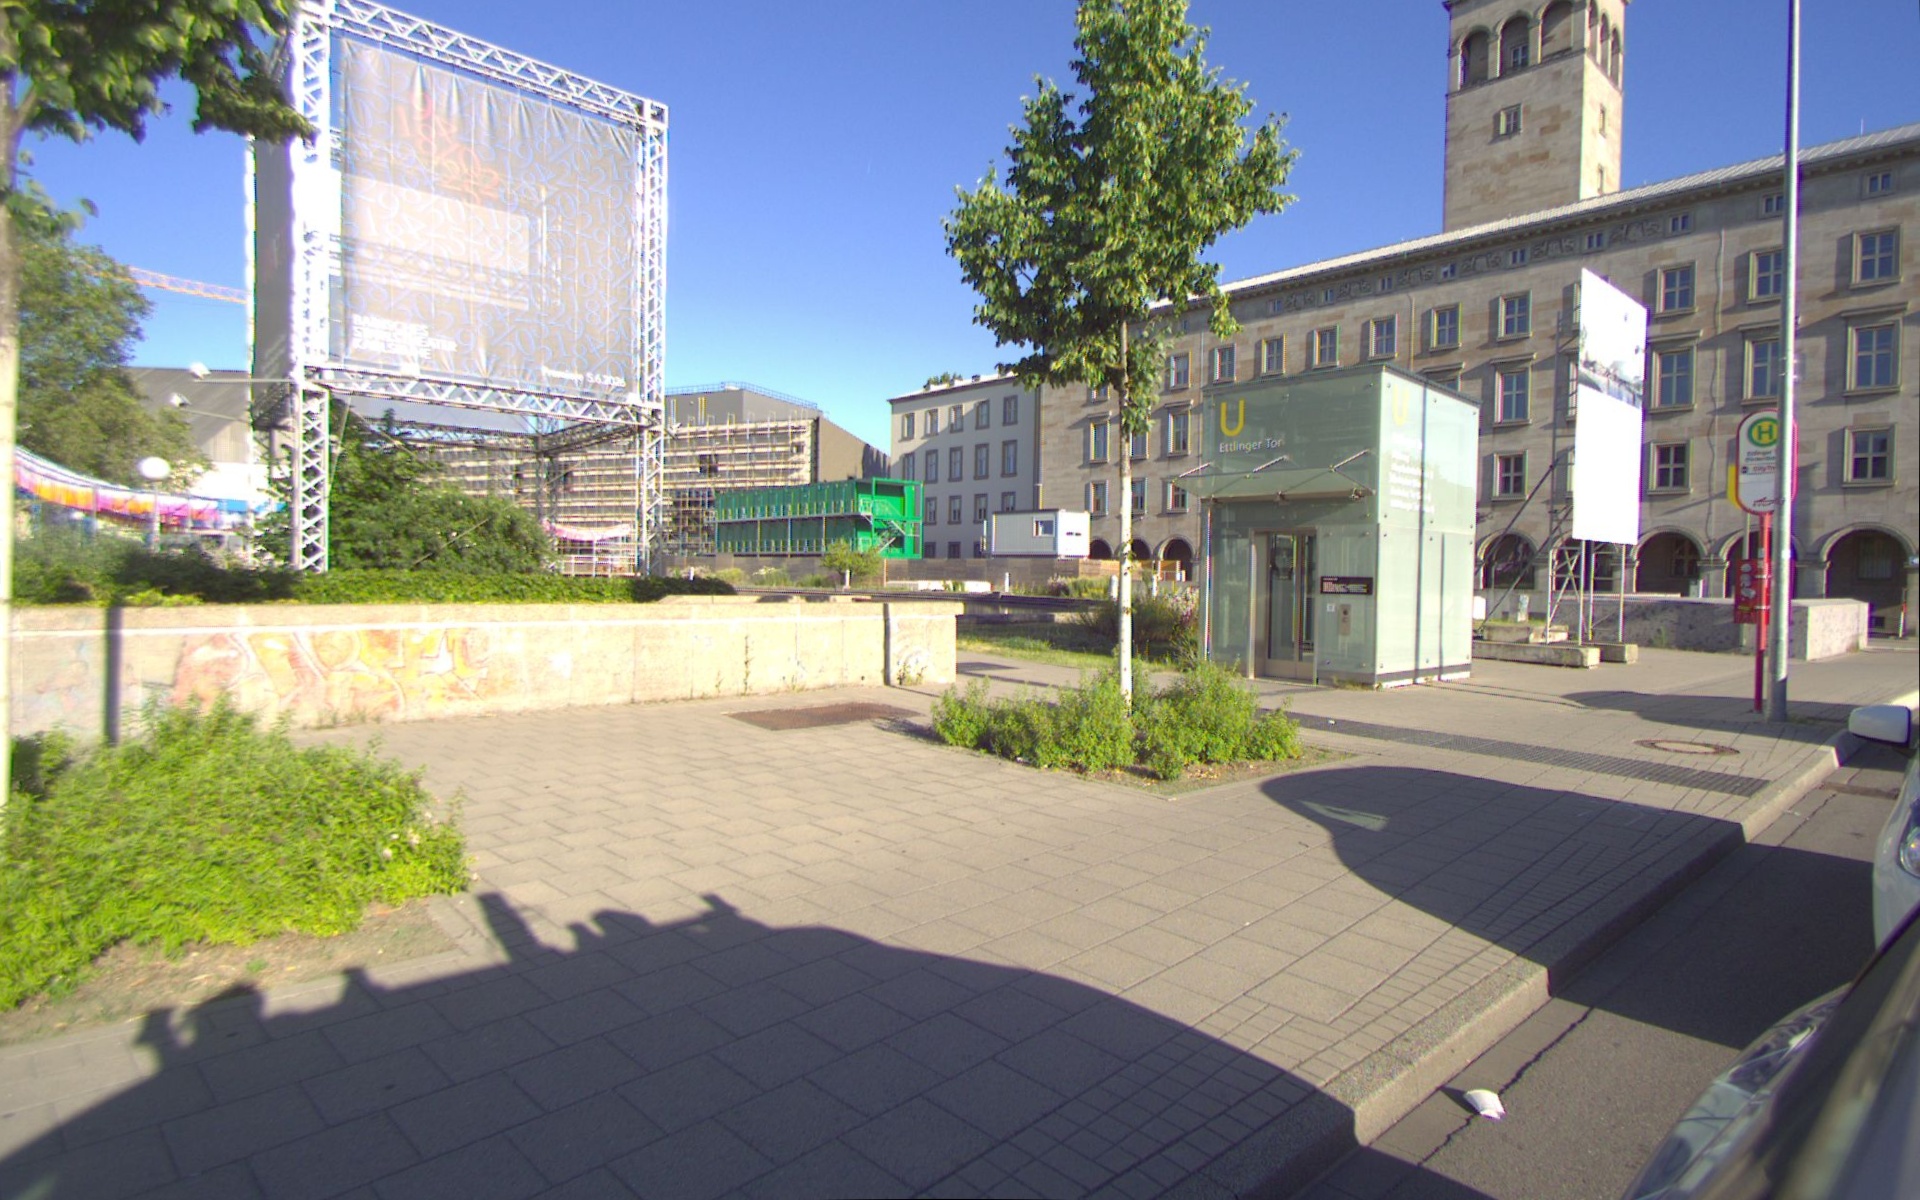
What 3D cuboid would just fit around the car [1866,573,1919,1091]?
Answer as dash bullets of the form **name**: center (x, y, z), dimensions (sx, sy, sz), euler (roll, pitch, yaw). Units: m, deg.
- **car**: center (4.643, 0.677, 3.670), dimensions (3.930, 1.473, 1.518), euler (0, 2, -41)
